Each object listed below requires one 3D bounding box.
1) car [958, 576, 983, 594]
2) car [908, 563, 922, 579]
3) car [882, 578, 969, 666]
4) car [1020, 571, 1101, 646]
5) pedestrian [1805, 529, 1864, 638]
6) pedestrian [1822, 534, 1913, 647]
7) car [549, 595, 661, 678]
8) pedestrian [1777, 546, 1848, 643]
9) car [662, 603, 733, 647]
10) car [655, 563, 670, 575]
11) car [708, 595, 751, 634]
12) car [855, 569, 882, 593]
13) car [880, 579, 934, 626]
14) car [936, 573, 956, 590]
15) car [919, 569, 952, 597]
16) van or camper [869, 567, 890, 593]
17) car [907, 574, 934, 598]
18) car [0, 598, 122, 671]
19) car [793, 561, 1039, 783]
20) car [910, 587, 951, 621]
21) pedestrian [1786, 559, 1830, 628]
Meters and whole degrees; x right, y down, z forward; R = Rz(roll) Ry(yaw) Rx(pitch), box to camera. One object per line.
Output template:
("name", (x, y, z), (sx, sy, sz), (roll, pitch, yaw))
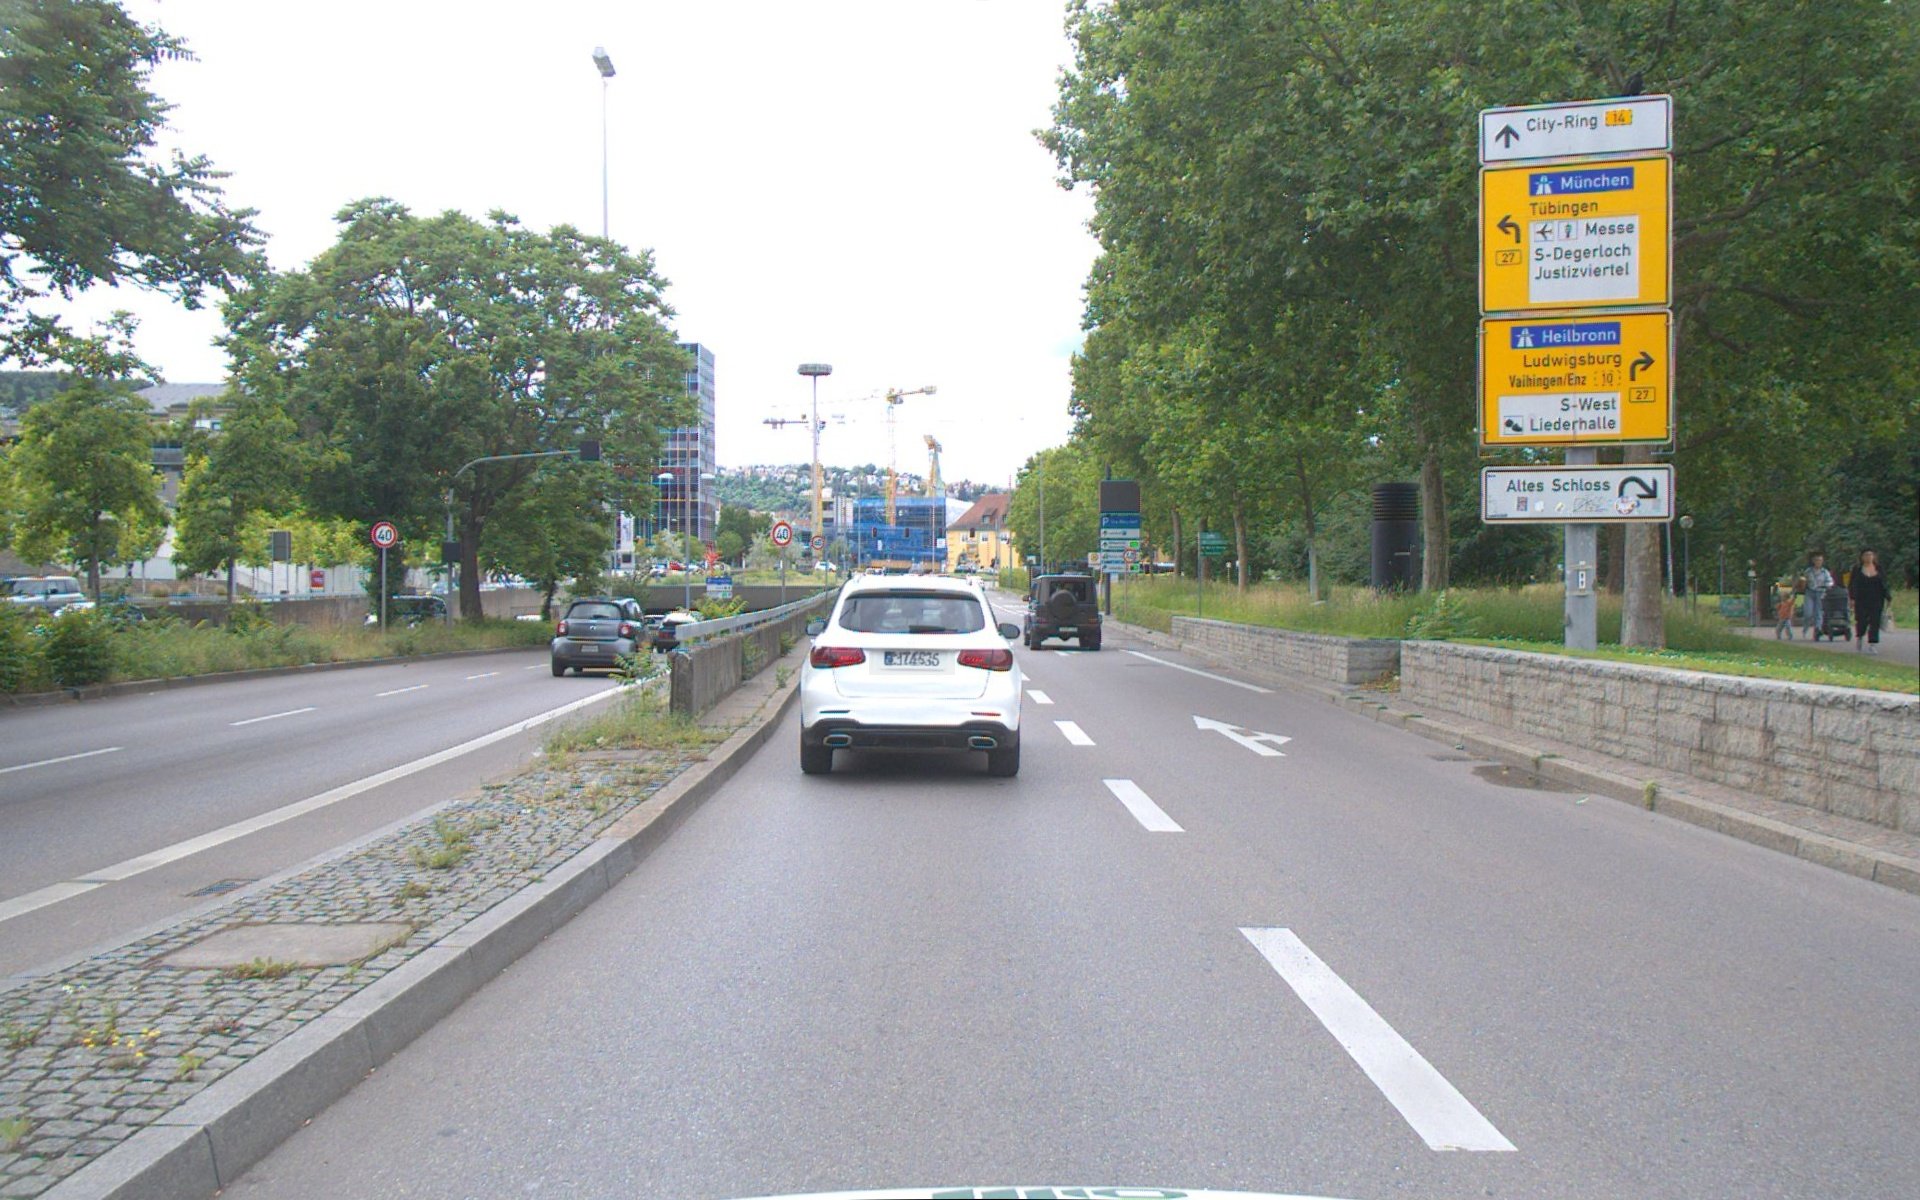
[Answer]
("car", (1.070, -1.528, 168.398), (1.956, 1.646, 3.993), (2, -1, -7))
("car", (-6.344, -4.105, 233.115), (1.764, 2.049, 3.997), (2, -1, -3))
("car", (-0.742, 0.452, 34.093), (1.639, 1.656, 3.998), (2, -1, -2))
("car", (2.753, 0.249, 46.192), (1.937, 1.926, 4.707), (2, -1, 0))
("pedestrian", (16.865, -0.313, 31.902), (0.559, 2.049, 0.932), (2, -1, -2))
("pedestrian", (14.664, -0.152, 26.749), (0.878, 1.763, 0.968), (2, 0, -2))
("car", (-7.052, 0.697, 33.156), (1.595, 1.535, 3.537), (1, 0, -3))
("pedestrian", (16.933, -0.107, 32.875), (0.975, 1.868, 1.030), (2, -1, 12))
("car", (-8.747, 0.822, 55.376), (1.684, 1.315, 4.000), (2, 0, 0))
("car", (-38.383, -4.003, 213.375), (1.798, 1.384, 3.861), (3, -1, -8))
("car", (-10.924, 0.661, 78.604), (1.685, 1.708, 3.996), (2, 0, -5))
("car", (-7.368, -1.539, 133.403), (1.953, 1.787, 3.999), (2, -1, -1))
("car", (-2.004, 0.068, 61.176), (1.884, 1.630, 3.998), (1, 1, -3))
("car", (-1.401, -1.821, 167.176), (1.685, 1.612, 3.996), (2, 0, -5))
("car", (-1.600, -1.072, 107.662), (1.954, 1.691, 3.997), (2, -1, -3))
("van or camper", (-7.811, -1.889, 160.231), (1.884, 2.360, 3.997), (1, -1, -3))
("car", (-3.131, -1.093, 131.063), (1.954, 1.812, 3.997), (2, -1, -3))
("car", (-20.740, 0.745, 37.236), (1.720, 1.487, 3.999), (2, -1, -1))
("car", (-0.456, 0.573, 14.870), (1.902, 1.713, 3.997), (1, 0, -4))
("car", (-1.514, 0.191, 83.120), (1.884, 1.630, 3.998), (1, 1, -3))
("pedestrian", (16.935, -0.129, 33.039), (0.570, 1.348, 0.541), (2, -1, -2))
